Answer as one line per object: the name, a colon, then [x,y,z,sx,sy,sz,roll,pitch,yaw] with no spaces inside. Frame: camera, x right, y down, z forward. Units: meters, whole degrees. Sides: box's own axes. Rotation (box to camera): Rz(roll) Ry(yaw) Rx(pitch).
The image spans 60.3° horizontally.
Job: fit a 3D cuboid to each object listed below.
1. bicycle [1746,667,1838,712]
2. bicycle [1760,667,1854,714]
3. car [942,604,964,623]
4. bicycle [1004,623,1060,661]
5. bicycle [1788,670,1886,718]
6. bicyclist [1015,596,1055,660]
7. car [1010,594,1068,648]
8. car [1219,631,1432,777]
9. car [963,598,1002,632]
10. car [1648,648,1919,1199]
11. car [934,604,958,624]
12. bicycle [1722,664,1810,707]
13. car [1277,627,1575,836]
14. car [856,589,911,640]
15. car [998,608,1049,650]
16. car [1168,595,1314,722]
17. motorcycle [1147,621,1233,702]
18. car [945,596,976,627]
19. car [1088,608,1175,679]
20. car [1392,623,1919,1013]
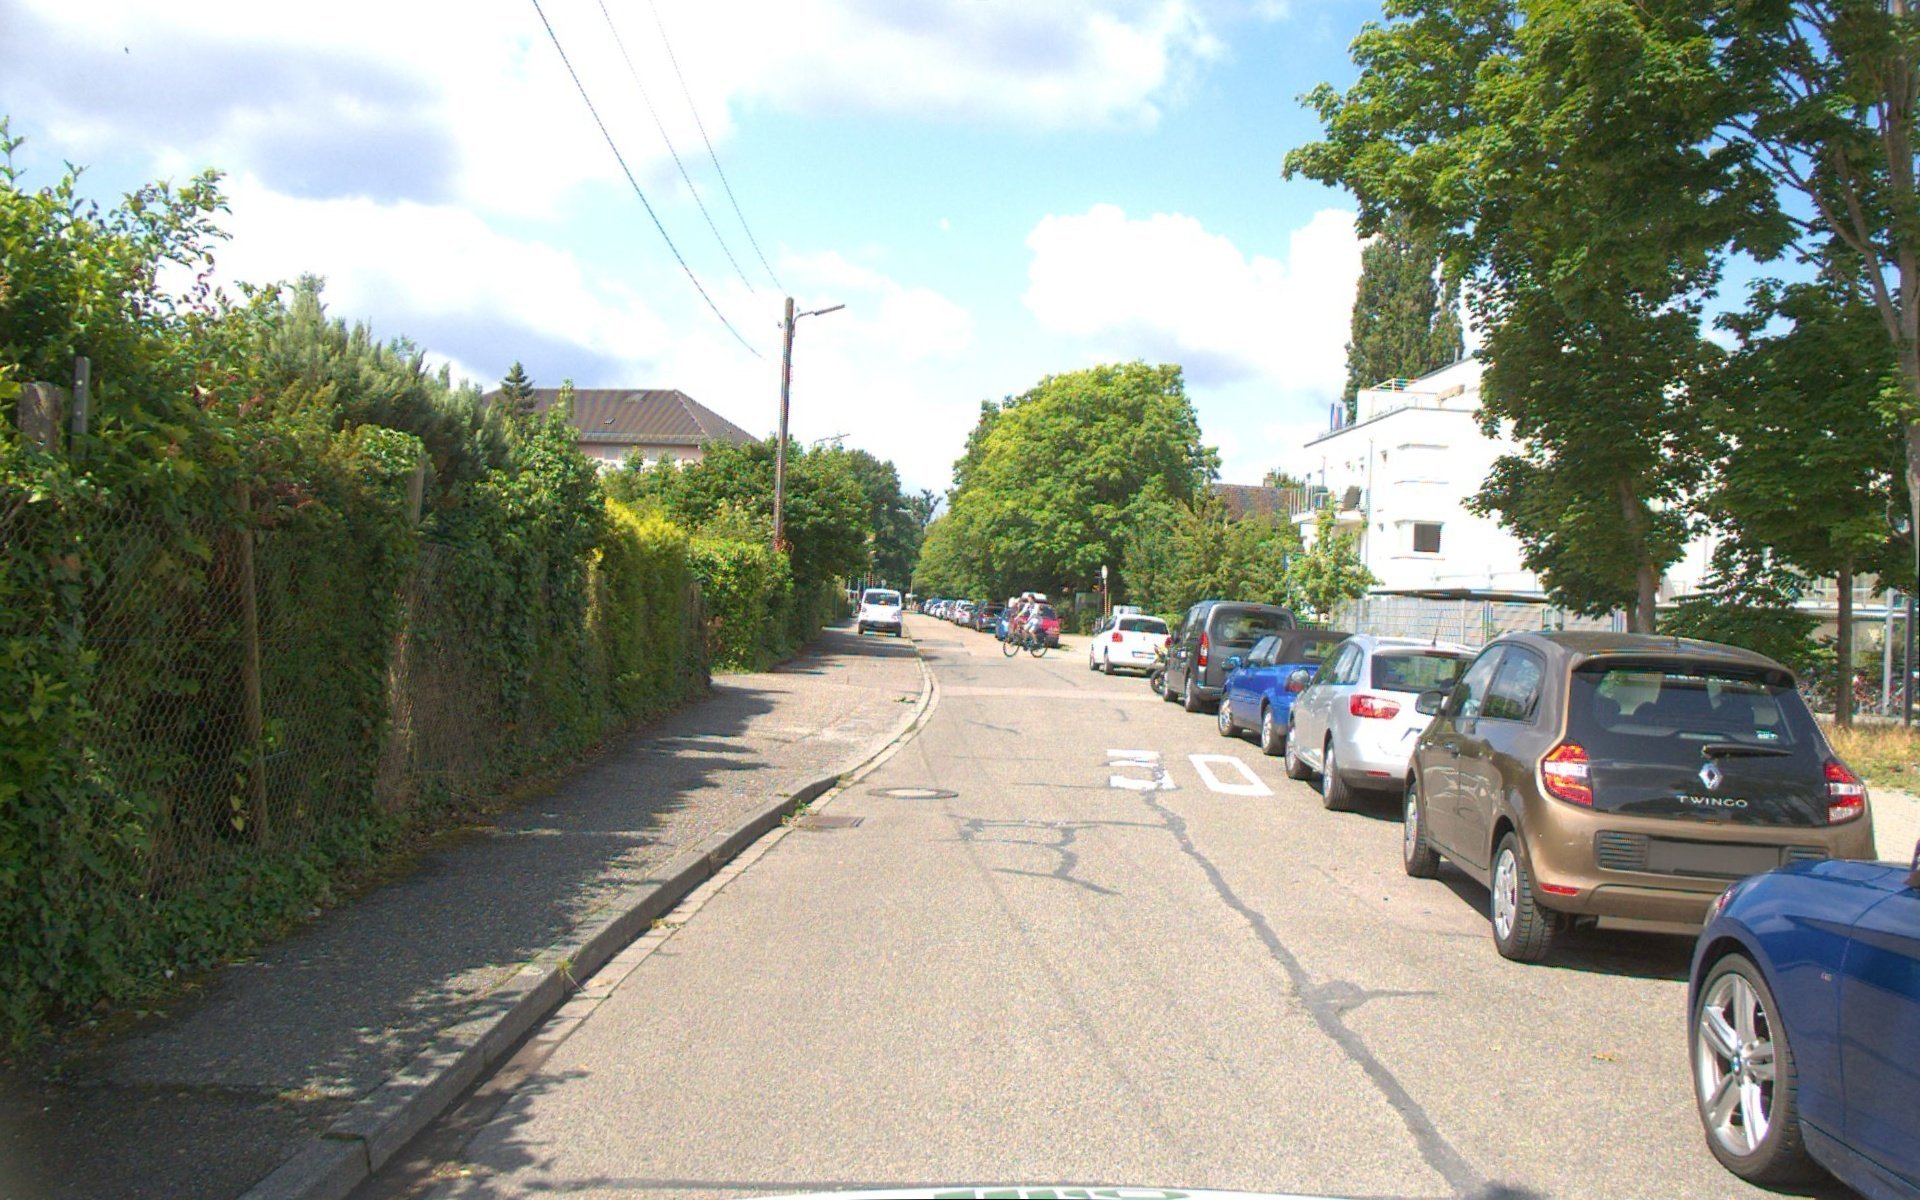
bicycle: [21.275,2.285,42.329,2.005,1.098,0.688,1,-1,1]
bicycle: [21.273,2.273,41.554,2.005,1.098,0.688,1,-1,1]
car: [-0.669,1.333,160.257,1.814,1.646,4.001,4,-1,2]
bicycle: [2.116,1.234,48.593,0.843,1.044,1.816,3,-1,30]
bicycle: [21.280,2.272,40.146,2.005,1.098,0.688,1,-1,1]
bicyclist: [2.209,0.829,48.661,0.770,1.816,0.892,3,-1,30]
car: [3.102,0.818,65.877,2.016,1.959,4.540,4,-1,0]
car: [4.278,1.171,19.863,1.630,1.460,3.540,4,-1,-1]
car: [1.197,0.810,90.368,2.016,1.681,4.540,4,-1,0]
car: [3.000,0.917,3.242,1.629,1.465,4.207,4,-1,2]
car: [-1.224,1.206,145.270,1.813,1.646,4.001,2,0,2]
bicycle: [21.565,2.285,44.275,2.005,1.098,0.688,1,-1,1]
car: [3.927,1.036,14.541,1.629,1.464,3.745,4,-1,2]
car: [-3.016,0.571,65.801,1.864,1.845,4.000,4,-1,0]
car: [2.774,1.263,73.465,2.016,1.681,4.540,4,-1,0]
car: [4.527,0.917,27.079,1.835,1.837,3.433,4,-1,2]
motorcycle: [4.274,1.135,30.878,1.398,1.385,0.869,4,-1,-1]
car: [0.020,0.802,115.746,2.016,1.996,4.540,4,-1,0]
car: [4.149,1.027,40.486,1.644,1.545,4.000,4,-1,0]
car: [3.557,0.969,9.026,1.628,1.579,3.639,4,-1,5]
